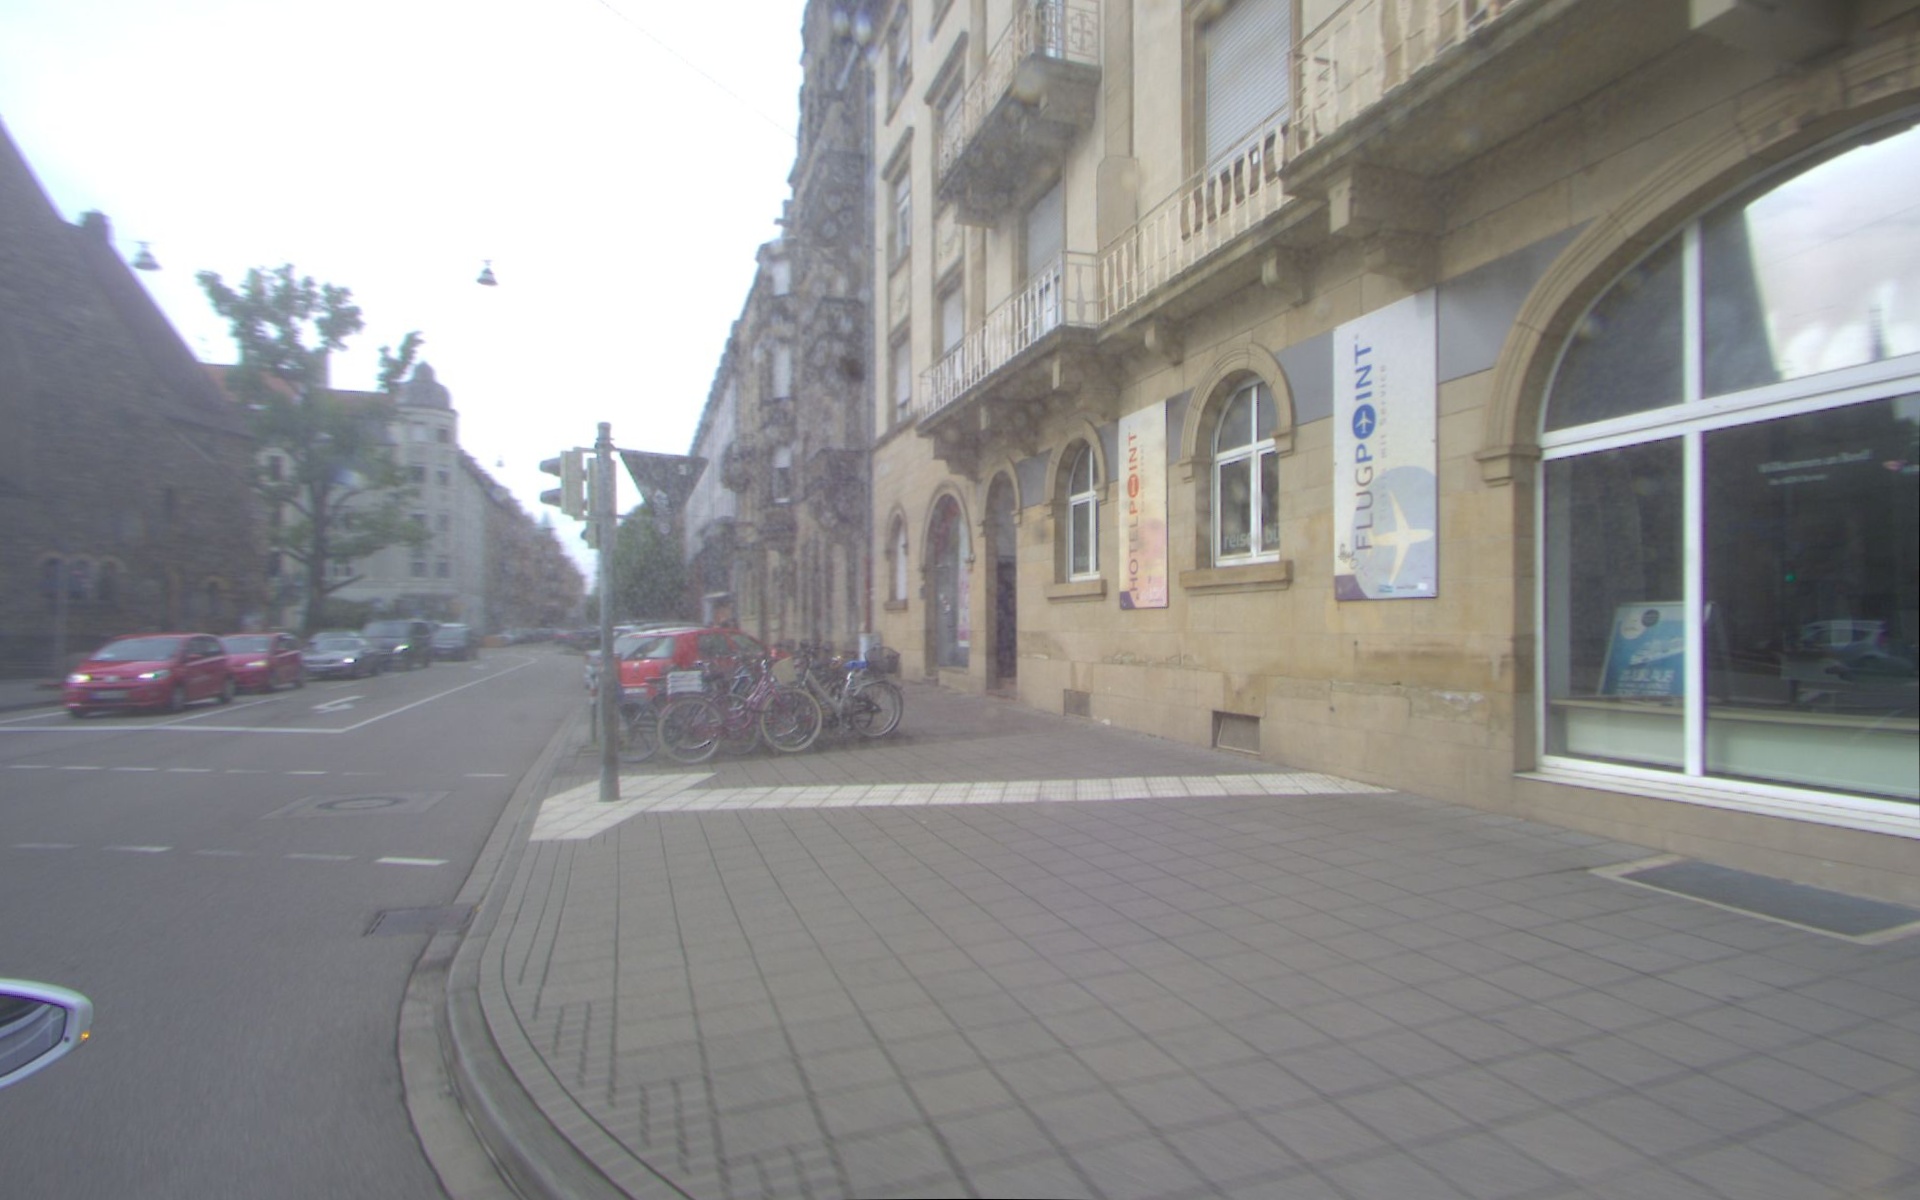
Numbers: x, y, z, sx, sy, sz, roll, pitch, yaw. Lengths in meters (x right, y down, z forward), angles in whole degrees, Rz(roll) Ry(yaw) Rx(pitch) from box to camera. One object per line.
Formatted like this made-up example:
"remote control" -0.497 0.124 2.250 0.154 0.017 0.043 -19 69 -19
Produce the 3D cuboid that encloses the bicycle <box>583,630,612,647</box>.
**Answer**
"bicycle" -25.001 2.658 69.034 1.858 1.155 0.610 0 -2 -22

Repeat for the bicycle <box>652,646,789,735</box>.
"bicycle" -3.214 1.191 13.474 1.709 1.052 0.475 -3 -1 -20

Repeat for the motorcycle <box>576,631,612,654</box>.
"motorcycle" -23.254 2.687 63.640 2.105 1.447 0.769 0 -2 -22

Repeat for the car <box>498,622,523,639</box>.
"car" -46.253 3.174 103.188 1.917 1.637 3.935 2 -2 -18

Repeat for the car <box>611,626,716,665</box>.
"car" -13.357 2.014 45.230 4.216 1.498 1.669 -3 1 -43

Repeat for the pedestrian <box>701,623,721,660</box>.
"pedestrian" -10.650 1.788 42.839 0.545 1.548 0.560 -1 -2 29

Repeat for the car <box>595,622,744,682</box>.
"car" -9.170 1.600 32.007 1.826 1.573 4.439 -1 1 32

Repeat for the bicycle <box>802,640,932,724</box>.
"bicycle" -1.304 1.129 14.058 1.709 1.052 0.475 -3 -1 -20

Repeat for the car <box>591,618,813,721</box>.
"car" -4.419 1.138 17.737 1.766 1.581 3.822 -2 -1 25

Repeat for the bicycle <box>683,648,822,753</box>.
"bicycle" -2.509 1.191 12.112 1.545 1.141 0.475 -3 -1 -20

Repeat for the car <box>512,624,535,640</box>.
"car" -47.948 3.528 109.954 1.917 1.637 3.935 2 -2 -18

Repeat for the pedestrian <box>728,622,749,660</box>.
"pedestrian" -9.247 1.723 41.845 0.573 1.548 0.639 -1 -2 29

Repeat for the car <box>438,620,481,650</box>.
"car" -34.060 2.382 68.237 1.817 1.964 4.540 1 -2 -17

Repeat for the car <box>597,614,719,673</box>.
"car" -11.275 1.591 37.700 1.852 1.932 4.261 -1 1 30

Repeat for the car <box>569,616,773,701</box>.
"car" -6.526 1.279 22.982 1.892 1.704 4.196 -3 -2 37

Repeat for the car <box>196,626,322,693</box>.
"car" -17.298 1.440 24.890 1.579 1.475 3.711 -1 -1 -19

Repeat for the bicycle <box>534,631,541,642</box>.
"bicycle" -44.804 3.893 106.194 0.559 1.101 1.983 1 -1 -17

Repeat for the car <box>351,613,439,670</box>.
"car" -21.323 1.532 38.008 1.885 1.979 5.273 1 -1 -18

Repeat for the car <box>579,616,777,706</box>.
"car" -5.641 1.189 20.408 1.822 1.528 3.570 -3 0 30

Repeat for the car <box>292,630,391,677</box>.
"car" -19.434 1.654 31.641 1.680 1.303 4.036 -1 -1 -17

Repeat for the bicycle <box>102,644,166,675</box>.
"bicycle" -30.891 2.222 37.455 1.749 1.145 0.661 1 -1 -6

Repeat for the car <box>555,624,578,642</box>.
"car" -40.078 3.403 102.046 1.966 1.701 3.993 1 -3 -20

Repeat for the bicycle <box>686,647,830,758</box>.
"bicycle" -2.340 1.163 11.624 1.545 1.141 0.475 -3 -1 -20

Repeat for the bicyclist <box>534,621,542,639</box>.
"bicyclist" -44.813 3.188 106.332 0.771 1.890 0.713 1 -1 -17

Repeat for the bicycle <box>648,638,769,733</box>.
"bicycle" -3.492 1.172 13.919 1.545 1.187 0.475 -3 -1 -20

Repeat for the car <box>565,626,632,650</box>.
"car" -26.353 2.770 73.150 1.841 1.599 4.256 -2 -1 38

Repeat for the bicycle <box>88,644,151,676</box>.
"bicycle" -30.792 2.203 36.697 1.751 1.139 0.567 1 -1 -6

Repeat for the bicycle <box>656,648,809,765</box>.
"bicycle" -2.503 1.142 11.017 1.545 1.141 0.475 -3 -1 -20

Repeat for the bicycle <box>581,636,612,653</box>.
"bicycle" -23.801 2.904 65.513 1.903 1.056 0.610 0 -2 -22

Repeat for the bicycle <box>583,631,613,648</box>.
"bicycle" -24.212 2.656 66.993 1.858 1.056 0.610 0 -2 -22

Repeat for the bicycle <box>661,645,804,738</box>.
"bicycle" -2.923 1.160 12.891 1.709 1.052 0.475 -3 -1 -20

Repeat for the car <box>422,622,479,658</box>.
"car" -25.427 1.954 50.094 1.819 1.705 4.539 1 -1 -18

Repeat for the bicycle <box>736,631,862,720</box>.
"bicycle" -2.394 1.106 14.908 1.754 1.187 0.495 -3 -1 -20

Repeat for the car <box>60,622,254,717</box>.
"car" -15.365 1.248 19.417 1.625 1.548 3.885 -2 0 -18
